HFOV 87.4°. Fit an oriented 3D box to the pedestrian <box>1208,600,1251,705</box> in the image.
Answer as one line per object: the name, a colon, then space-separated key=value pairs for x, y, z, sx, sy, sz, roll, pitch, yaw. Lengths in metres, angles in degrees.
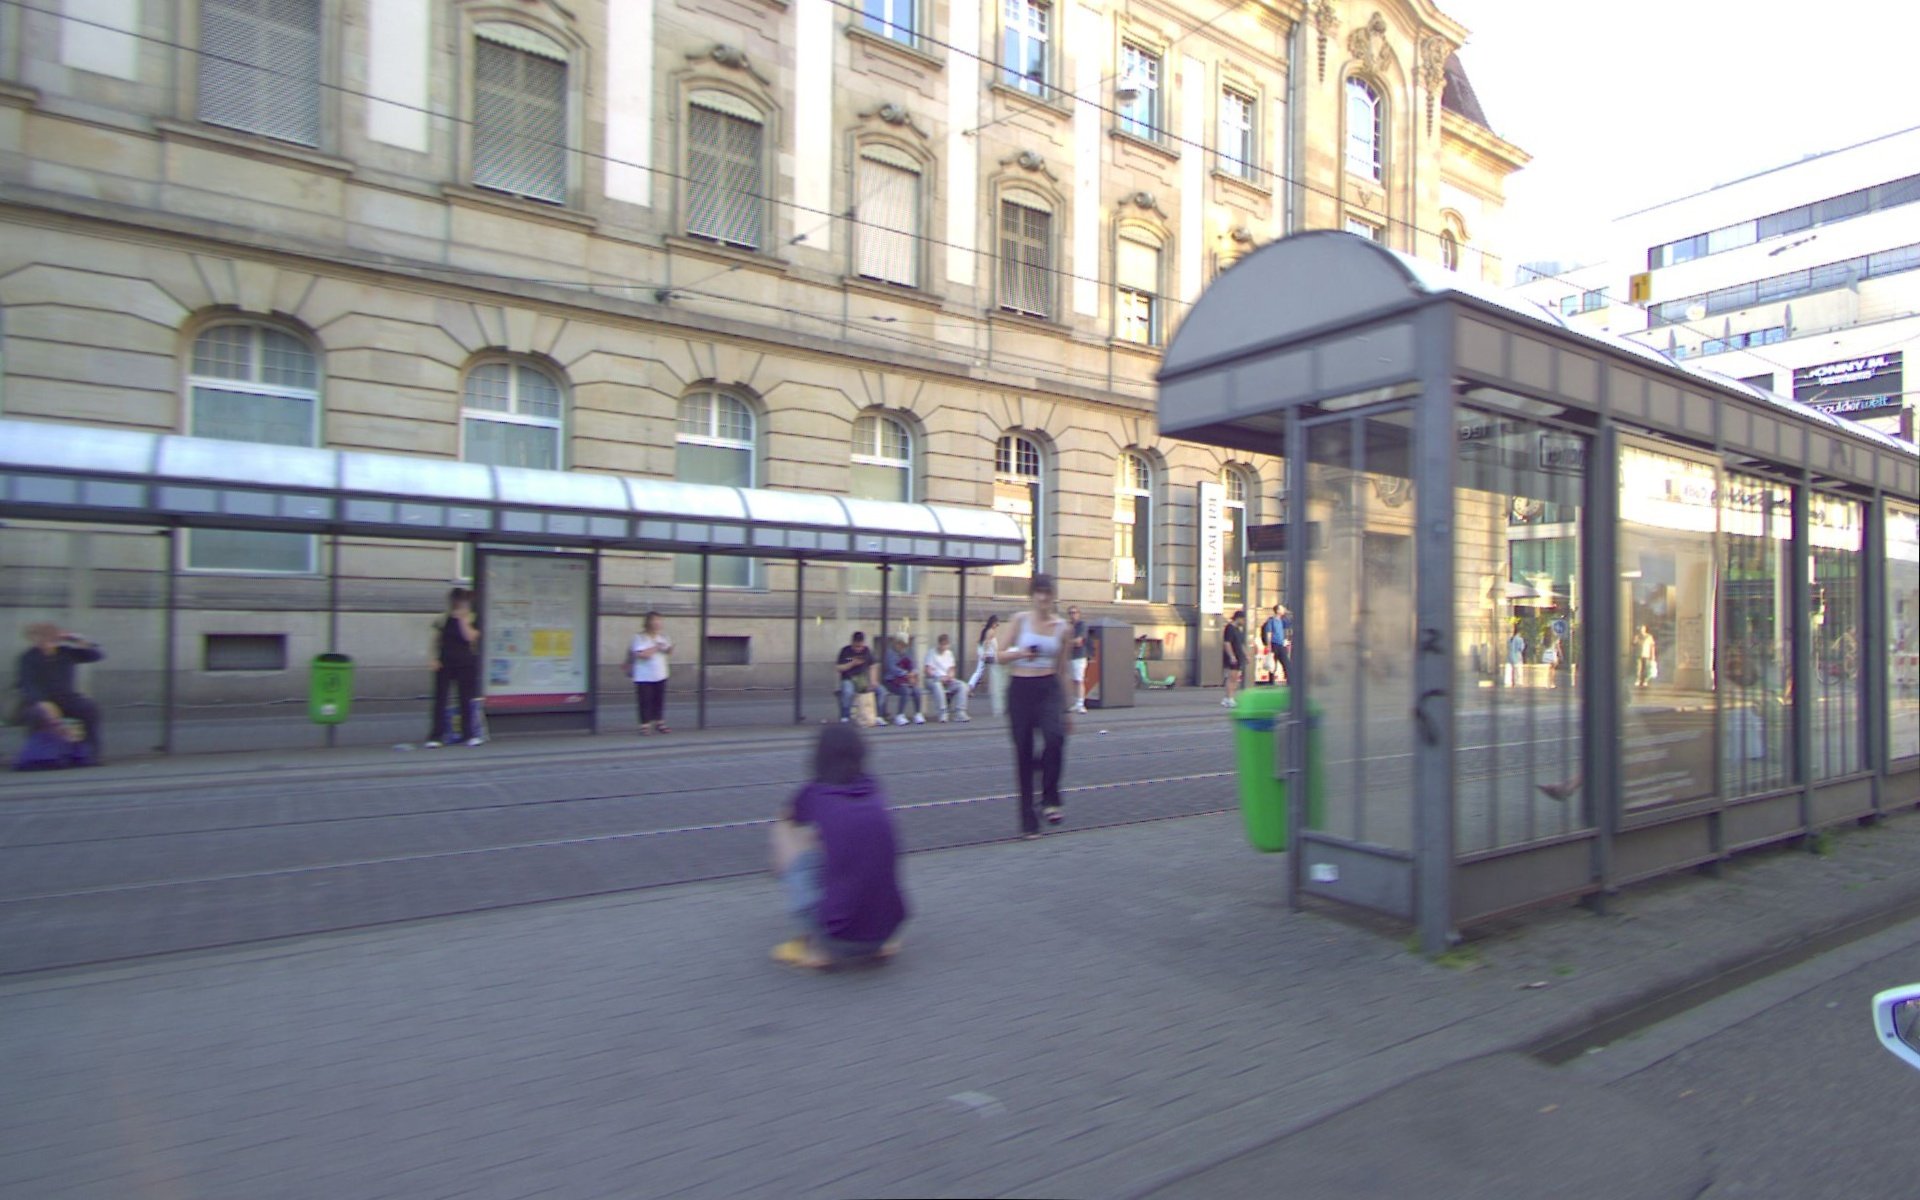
pedestrian: x=4.750 y=0.913 z=17.697 sx=0.464 sy=1.800 sz=0.555 roll=1 pitch=-1 yaw=-38

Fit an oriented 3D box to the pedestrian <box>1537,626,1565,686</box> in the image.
pedestrian: x=15.630 y=1.466 z=26.582 sx=0.517 sy=1.545 sz=0.503 roll=1 pitch=-1 yaw=16

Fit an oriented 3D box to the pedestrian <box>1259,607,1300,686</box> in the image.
pedestrian: x=7.484 y=1.072 z=23.508 sx=0.699 sy=1.800 sz=0.616 roll=1 pitch=-1 yaw=-37

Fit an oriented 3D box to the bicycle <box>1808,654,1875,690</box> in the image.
bicycle: x=28.564 y=2.329 z=32.562 sx=0.626 sy=1.118 sz=1.604 roll=3 pitch=-4 yaw=-45

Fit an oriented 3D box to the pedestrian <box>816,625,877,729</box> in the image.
pedestrian: x=-1.516 y=1.012 z=13.439 sx=0.630 sy=1.345 sz=0.515 roll=2 pitch=-2 yaw=-30

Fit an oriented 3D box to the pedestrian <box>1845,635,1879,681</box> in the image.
pedestrian: x=33.222 y=2.129 z=36.996 sx=0.809 sy=1.635 sz=0.692 roll=0 pitch=-1 yaw=31

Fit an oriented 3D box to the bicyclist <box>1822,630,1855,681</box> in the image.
bicyclist: x=28.537 y=1.797 z=32.628 sx=0.780 sy=1.614 sz=0.607 roll=0 pitch=-2 yaw=43

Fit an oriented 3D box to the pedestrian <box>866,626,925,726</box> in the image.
pedestrian: x=-0.889 y=1.037 z=13.869 sx=0.630 sy=1.345 sz=0.515 roll=2 pitch=-2 yaw=-30

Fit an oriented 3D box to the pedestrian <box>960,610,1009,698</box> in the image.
pedestrian: x=0.463 y=1.030 z=19.394 sx=0.624 sy=1.636 sz=0.694 roll=2 pitch=0 yaw=-35

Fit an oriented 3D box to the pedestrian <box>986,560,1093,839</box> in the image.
pedestrian: x=0.529 y=0.623 z=6.579 sx=0.625 sy=1.713 sz=0.677 roll=1 pitch=-1 yaw=6

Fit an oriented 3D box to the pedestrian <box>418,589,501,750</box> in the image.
pedestrian: x=-5.380 y=0.741 z=10.820 sx=0.627 sy=1.672 sz=0.518 roll=2 pitch=-1 yaw=-12

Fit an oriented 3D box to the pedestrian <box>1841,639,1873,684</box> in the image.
pedestrian: x=33.639 y=2.298 z=37.667 sx=0.759 sy=1.635 sz=0.666 roll=0 pitch=-1 yaw=31

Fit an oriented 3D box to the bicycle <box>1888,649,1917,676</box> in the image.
bicycle: x=40.833 y=2.704 z=43.515 sx=2.004 sy=1.112 sz=0.568 roll=2 pitch=-1 yaw=-37

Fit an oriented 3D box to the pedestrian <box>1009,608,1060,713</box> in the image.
pedestrian: x=1.215 y=0.974 z=16.388 sx=0.630 sy=1.667 sz=0.515 roll=2 pitch=-2 yaw=-30

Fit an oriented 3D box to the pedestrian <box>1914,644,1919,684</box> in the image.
pedestrian: x=41.102 y=2.711 z=42.675 sx=0.523 sy=1.696 sz=0.646 roll=1 pitch=-1 yaw=-25

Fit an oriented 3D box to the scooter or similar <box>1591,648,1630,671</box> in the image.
scooter or similar: x=26.732 y=2.450 z=41.285 sx=0.880 sy=0.916 sz=1.087 roll=1 pitch=-2 yaw=-32

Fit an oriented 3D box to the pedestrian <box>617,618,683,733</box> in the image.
pedestrian: x=-3.735 y=0.899 z=12.107 sx=0.630 sy=1.345 sz=0.515 roll=2 pitch=-2 yaw=-30

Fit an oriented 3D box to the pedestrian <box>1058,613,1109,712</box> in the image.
pedestrian: x=2.028 y=1.018 z=16.525 sx=0.630 sy=1.590 sz=0.515 roll=2 pitch=-2 yaw=-30

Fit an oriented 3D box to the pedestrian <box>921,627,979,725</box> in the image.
pedestrian: x=-0.138 y=1.066 z=14.293 sx=0.630 sy=1.345 sz=0.515 roll=2 pitch=-2 yaw=-30

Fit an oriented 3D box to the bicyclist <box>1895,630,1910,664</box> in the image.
bicyclist: x=40.747 y=2.033 z=43.424 sx=0.559 sy=1.446 sz=0.417 roll=2 pitch=-1 yaw=-40

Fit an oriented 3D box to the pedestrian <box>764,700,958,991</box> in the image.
pedestrian: x=-0.418 y=0.908 z=3.986 sx=0.681 sy=0.951 sz=0.799 roll=1 pitch=-1 yaw=-11

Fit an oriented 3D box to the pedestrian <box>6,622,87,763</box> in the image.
pedestrian: x=-8.154 y=0.814 z=8.976 sx=0.424 sy=1.216 sz=0.363 roll=2 pitch=0 yaw=-28

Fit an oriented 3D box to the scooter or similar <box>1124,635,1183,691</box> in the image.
scooter or similar: x=4.269 y=1.381 z=22.164 sx=1.279 sy=1.197 sz=0.484 roll=2 pitch=-1 yaw=-32
